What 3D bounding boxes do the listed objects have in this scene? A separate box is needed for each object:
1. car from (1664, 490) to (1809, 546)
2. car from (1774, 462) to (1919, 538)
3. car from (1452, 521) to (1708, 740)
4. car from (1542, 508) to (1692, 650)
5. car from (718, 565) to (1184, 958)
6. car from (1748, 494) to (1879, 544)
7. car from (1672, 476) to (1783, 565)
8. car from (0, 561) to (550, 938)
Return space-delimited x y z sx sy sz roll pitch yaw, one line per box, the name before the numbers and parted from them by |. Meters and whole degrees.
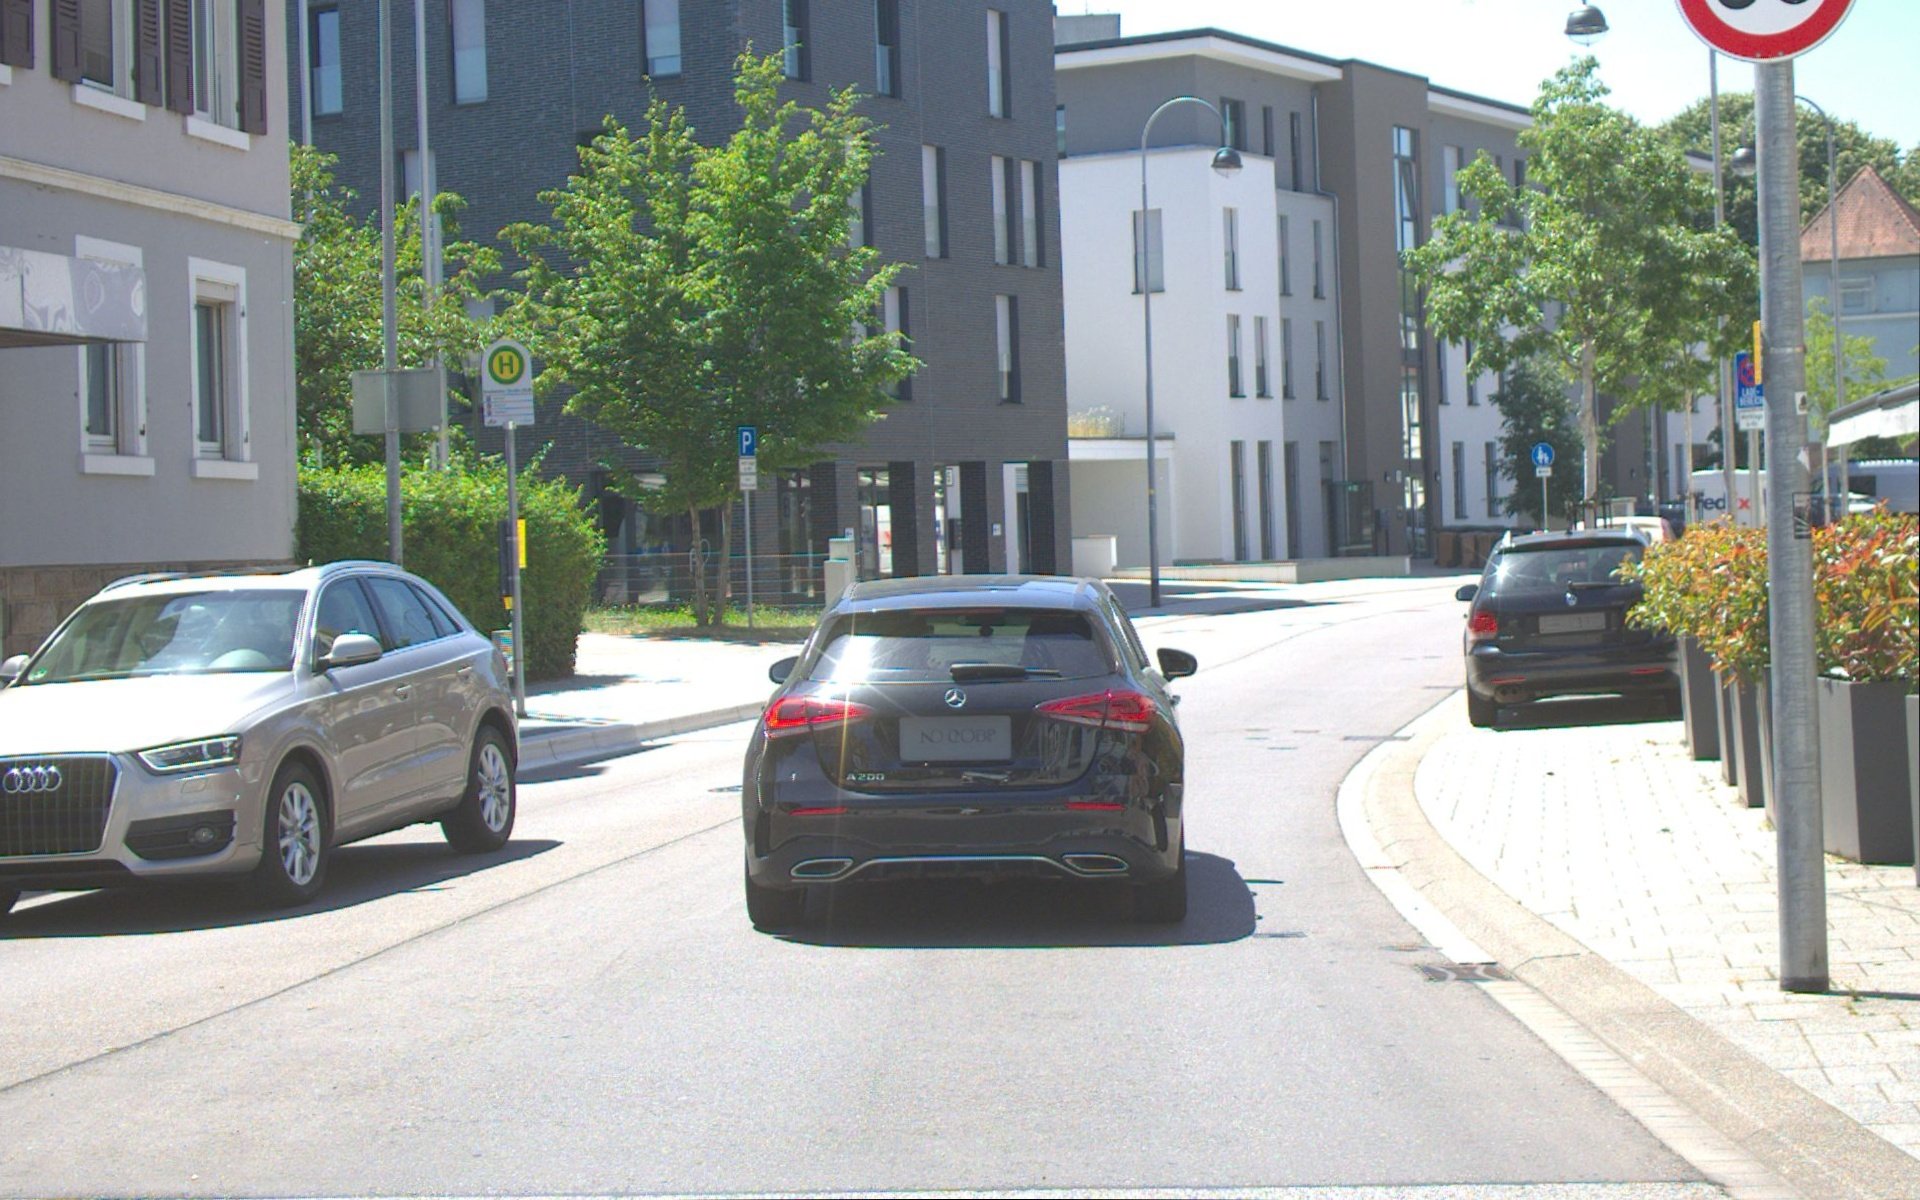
car | 24.382 -2.581 108.017 3.994 1.656 1.997 -1 1 31
car | 32.459 -3.595 123.665 5.652 2.570 2.511 -1 1 32
car | 4.988 0.186 27.462 1.751 1.481 3.998 -5 0 11
car | 7.768 -0.281 40.810 1.606 1.525 3.491 -3 1 10
car | 0.105 0.600 15.398 1.763 1.452 4.438 -1 1 4
car | 29.639 -2.814 119.369 3.994 1.656 1.997 -1 1 31
car | 18.135 -1.894 81.112 1.995 2.007 3.996 -1 1 21
car | -3.560 0.654 17.083 1.676 1.537 4.082 -3 1 13
